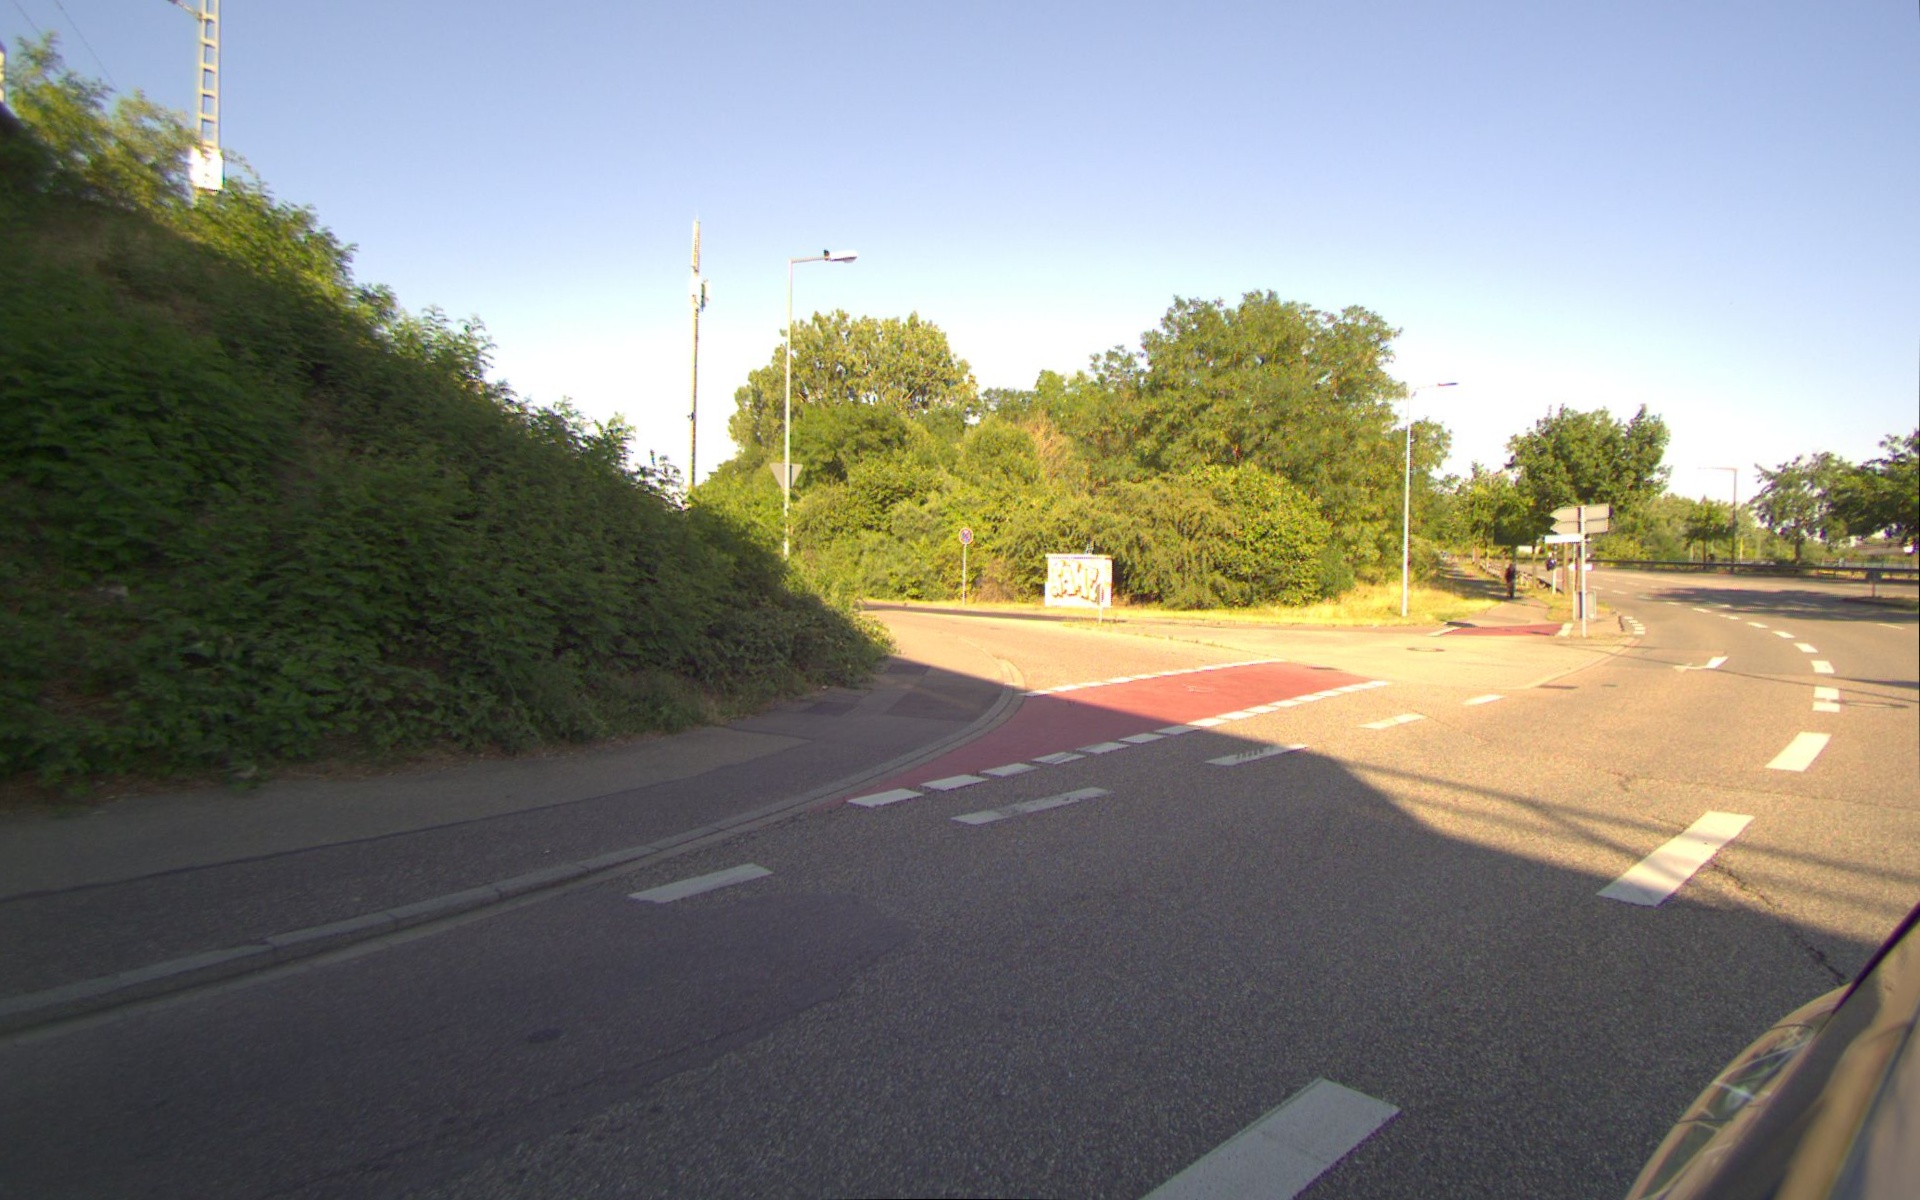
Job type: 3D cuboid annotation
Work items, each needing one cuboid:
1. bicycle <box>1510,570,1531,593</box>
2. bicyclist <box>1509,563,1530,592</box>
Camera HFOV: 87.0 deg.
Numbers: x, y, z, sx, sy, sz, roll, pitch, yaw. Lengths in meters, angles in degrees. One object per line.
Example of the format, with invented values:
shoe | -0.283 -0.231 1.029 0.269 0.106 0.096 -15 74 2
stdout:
bicycle | 27.725 -0.918 50.101 0.775 1.070 2.474 0 1 26
bicyclist | 27.701 -1.116 50.115 0.835 1.439 1.103 0 0 27
